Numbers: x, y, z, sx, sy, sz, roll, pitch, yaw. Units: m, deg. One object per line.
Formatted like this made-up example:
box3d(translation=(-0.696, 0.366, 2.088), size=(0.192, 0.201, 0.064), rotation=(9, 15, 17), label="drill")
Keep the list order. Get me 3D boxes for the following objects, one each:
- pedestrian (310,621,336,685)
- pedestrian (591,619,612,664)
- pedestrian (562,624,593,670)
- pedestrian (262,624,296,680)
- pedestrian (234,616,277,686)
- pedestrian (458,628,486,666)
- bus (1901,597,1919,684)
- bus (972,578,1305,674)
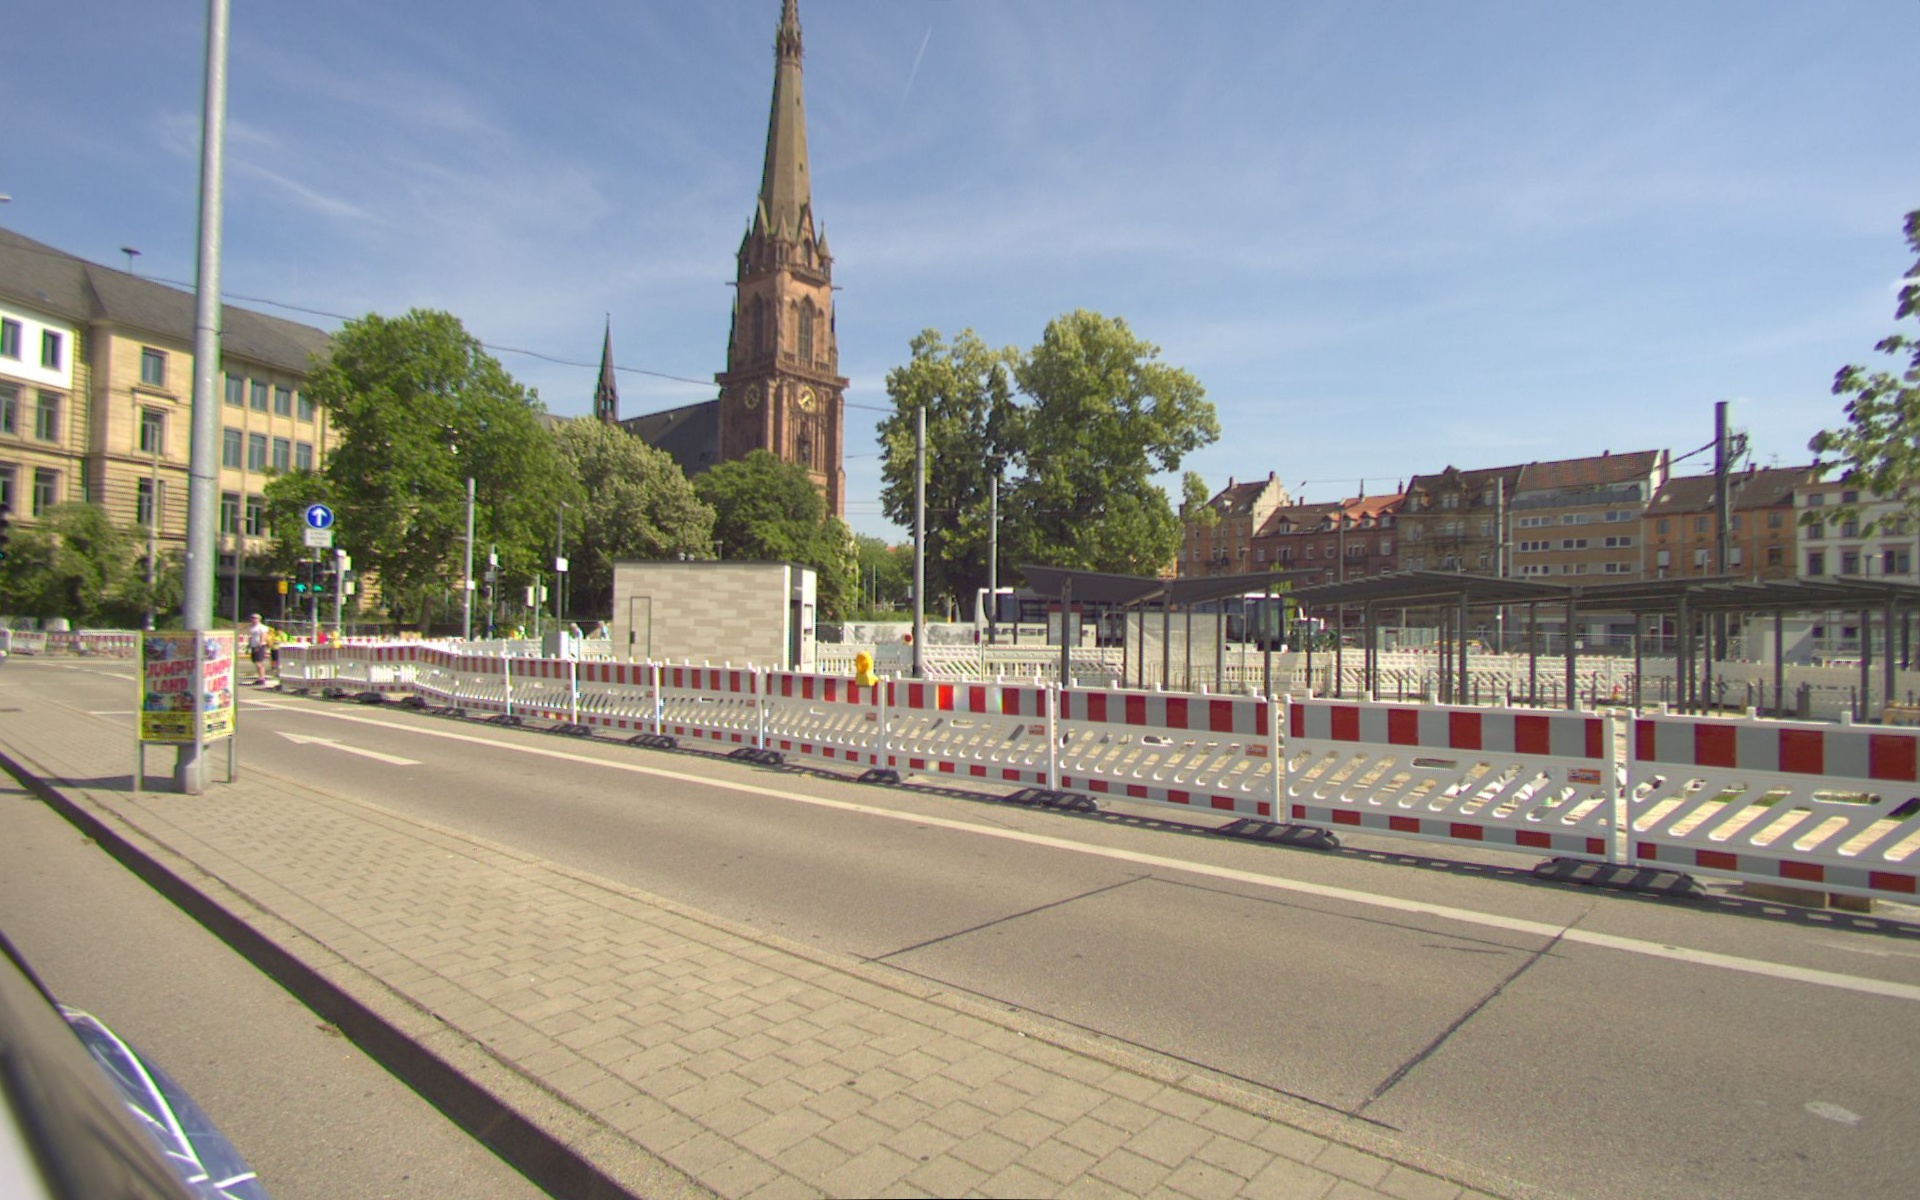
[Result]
box3d(translation=(-16.429, 1.355, 26.101), size=(0.686, 1.628, 0.346), rotation=(-1, -3, 42), label="pedestrian")
box3d(translation=(-13.214, 1.535, 37.339), size=(0.577, 1.628, 0.690), rotation=(0, -2, -6), label="pedestrian")
box3d(translation=(-13.821, 1.686, 36.565), size=(0.787, 1.628, 0.658), rotation=(-1, -2, 17), label="pedestrian")
box3d(translation=(-19.516, 1.489, 29.012), size=(0.420, 1.555, 0.663), rotation=(-1, 0, 19), label="pedestrian")
box3d(translation=(-18.546, 1.332, 26.650), size=(0.827, 1.826, 0.651), rotation=(1, -2, -28), label="pedestrian")
box3d(translation=(-21.991, 2.101, 45.601), size=(0.926, 1.668, 0.845), rotation=(2, -3, -41), label="pedestrian")
box3d(translation=(42.248, 1.559, 36.741), size=(12.504, 3.306, 2.856), rotation=(1, -2, 7), label="bus")
box3d(translation=(6.820, 1.006, 39.967), size=(12.504, 3.516, 2.856), rotation=(0, -2, 7), label="bus")
